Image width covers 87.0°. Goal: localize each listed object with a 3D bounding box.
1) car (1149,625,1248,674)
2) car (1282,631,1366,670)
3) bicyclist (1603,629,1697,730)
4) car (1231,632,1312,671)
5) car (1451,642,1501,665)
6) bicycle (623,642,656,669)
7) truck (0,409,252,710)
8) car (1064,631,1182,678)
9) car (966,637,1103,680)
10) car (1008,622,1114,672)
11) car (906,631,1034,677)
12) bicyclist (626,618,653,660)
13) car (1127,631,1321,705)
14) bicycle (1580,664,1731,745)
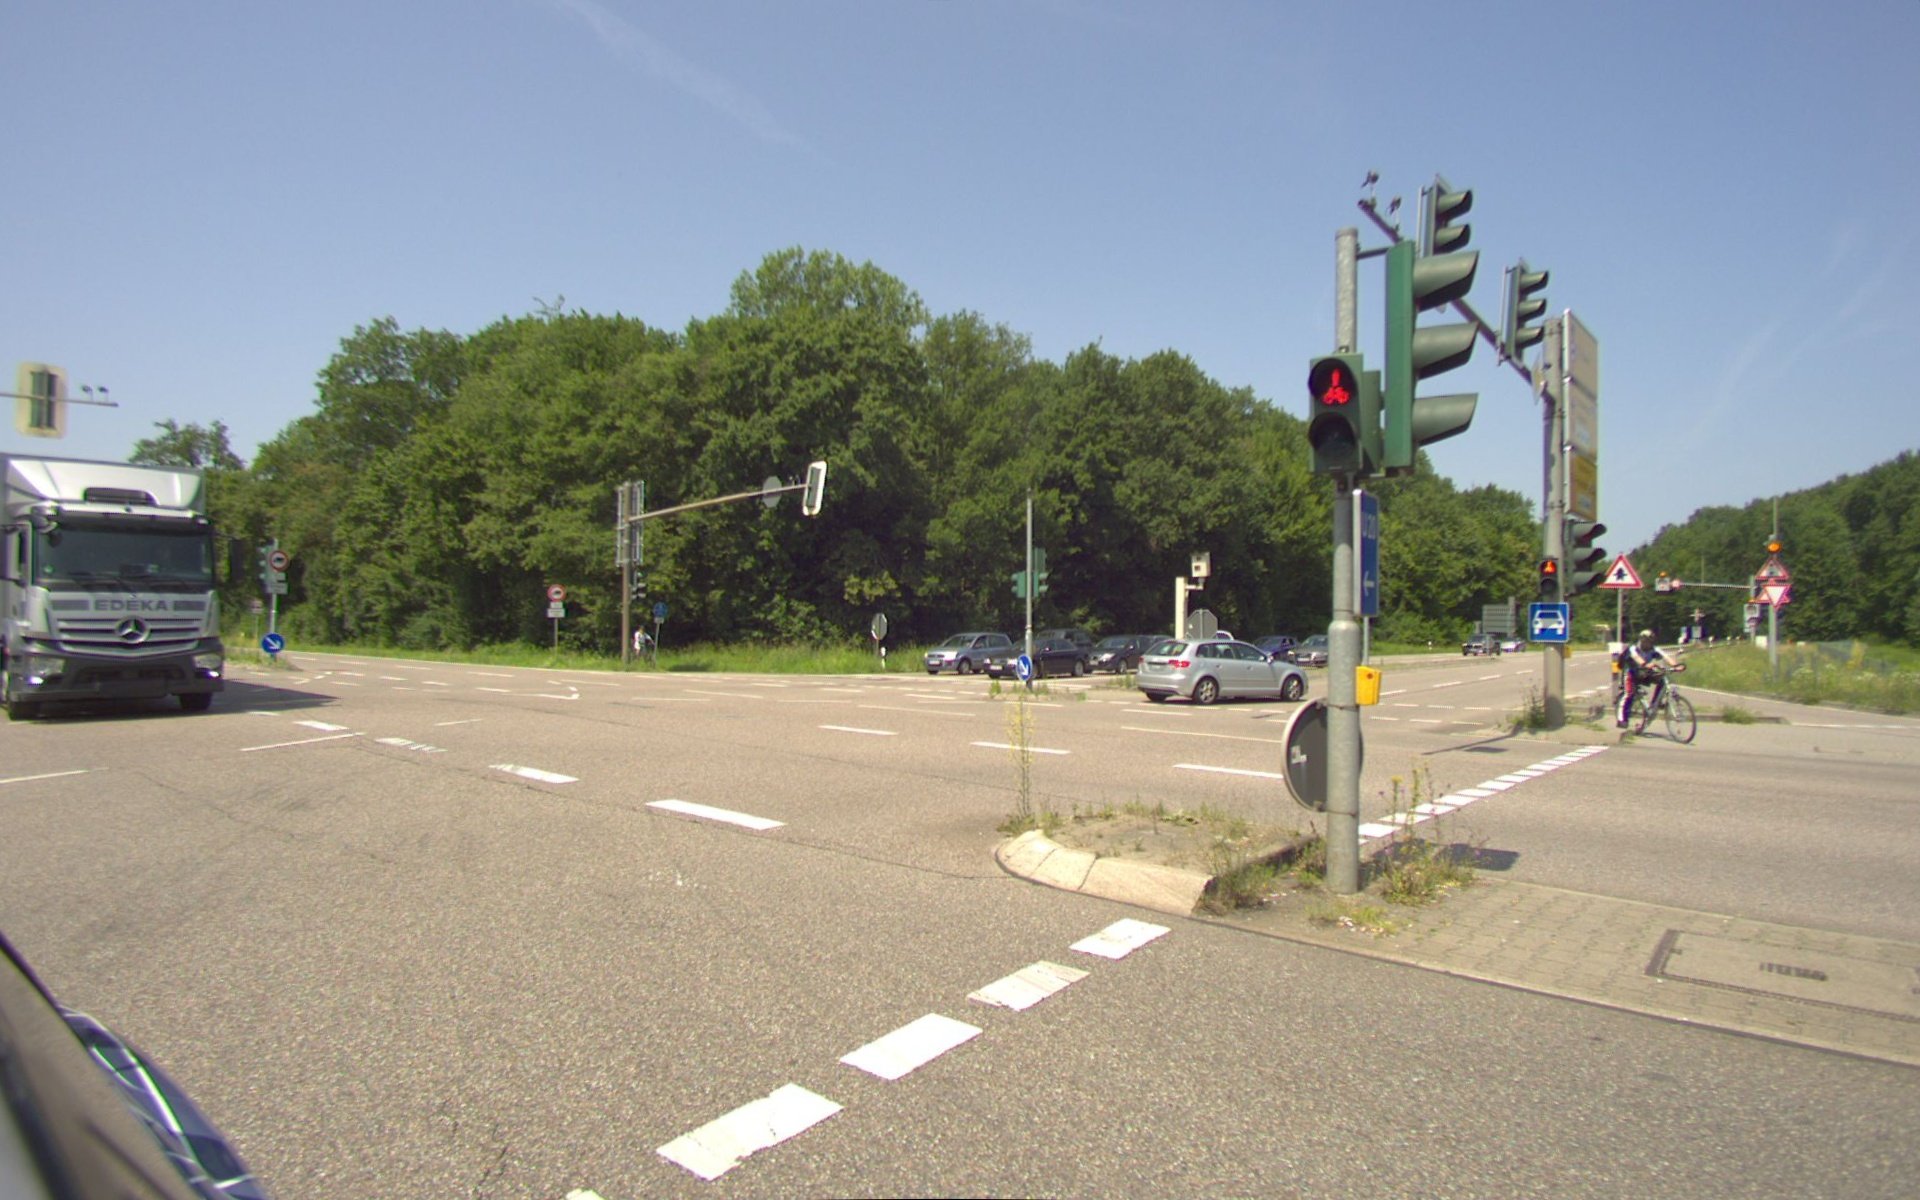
[{"bbox_3d":[10.084,2.054,42.590,2.066,1.910,4.753,-1,-3,42],"label":"car"},{"bbox_3d":[15.376,2.121,42.638,1.860,1.530,4.756,-1,-3,40],"label":"car"},{"bbox_3d":[10.356,1.171,15.208,0.911,1.471,0.718,1,-2,-11],"label":"bicyclist"},{"bbox_3d":[14.771,2.413,47.851,1.998,1.770,4.756,-1,-3,40],"label":"car"},{"bbox_3d":[38.769,4.002,75.933,2.001,1.648,4.750,-1,-3,45],"label":"car"},{"bbox_3d":[-11.489,1.963,36.253,0.558,0.930,1.608,2,-2,-39],"label":"bicycle"},{"bbox_3d":[-15.835,-0.456,17.872,11.312,3.914,2.718,-1,-1,40],"label":"truck"},{"bbox_3d":[6.160,2.008,37.935,2.001,1.648,4.750,-1,-3,45],"label":"car"},{"bbox_3d":[2.546,1.921,33.719,2.105,1.300,4.754,-1,-3,42],"label":"car"},{"bbox_3d":[4.206,1.897,41.534,1.999,1.912,4.755,-1,-3,41],"label":"car"},{"bbox_3d":[0.431,1.948,37.155,2.129,1.579,4.754,-1,-3,41],"label":"car"},{"bbox_3d":[-11.504,1.401,36.305,0.651,1.476,0.811,2,-3,-39],"label":"bicyclist"},{"bbox_3d":[5.824,1.430,22.275,3.945,1.402,1.776,0,-1,-27],"label":"car"},{"bbox_3d":[10.342,1.525,15.139,0.712,1.071,1.874,1,-2,-11],"label":"bicycle"}]
